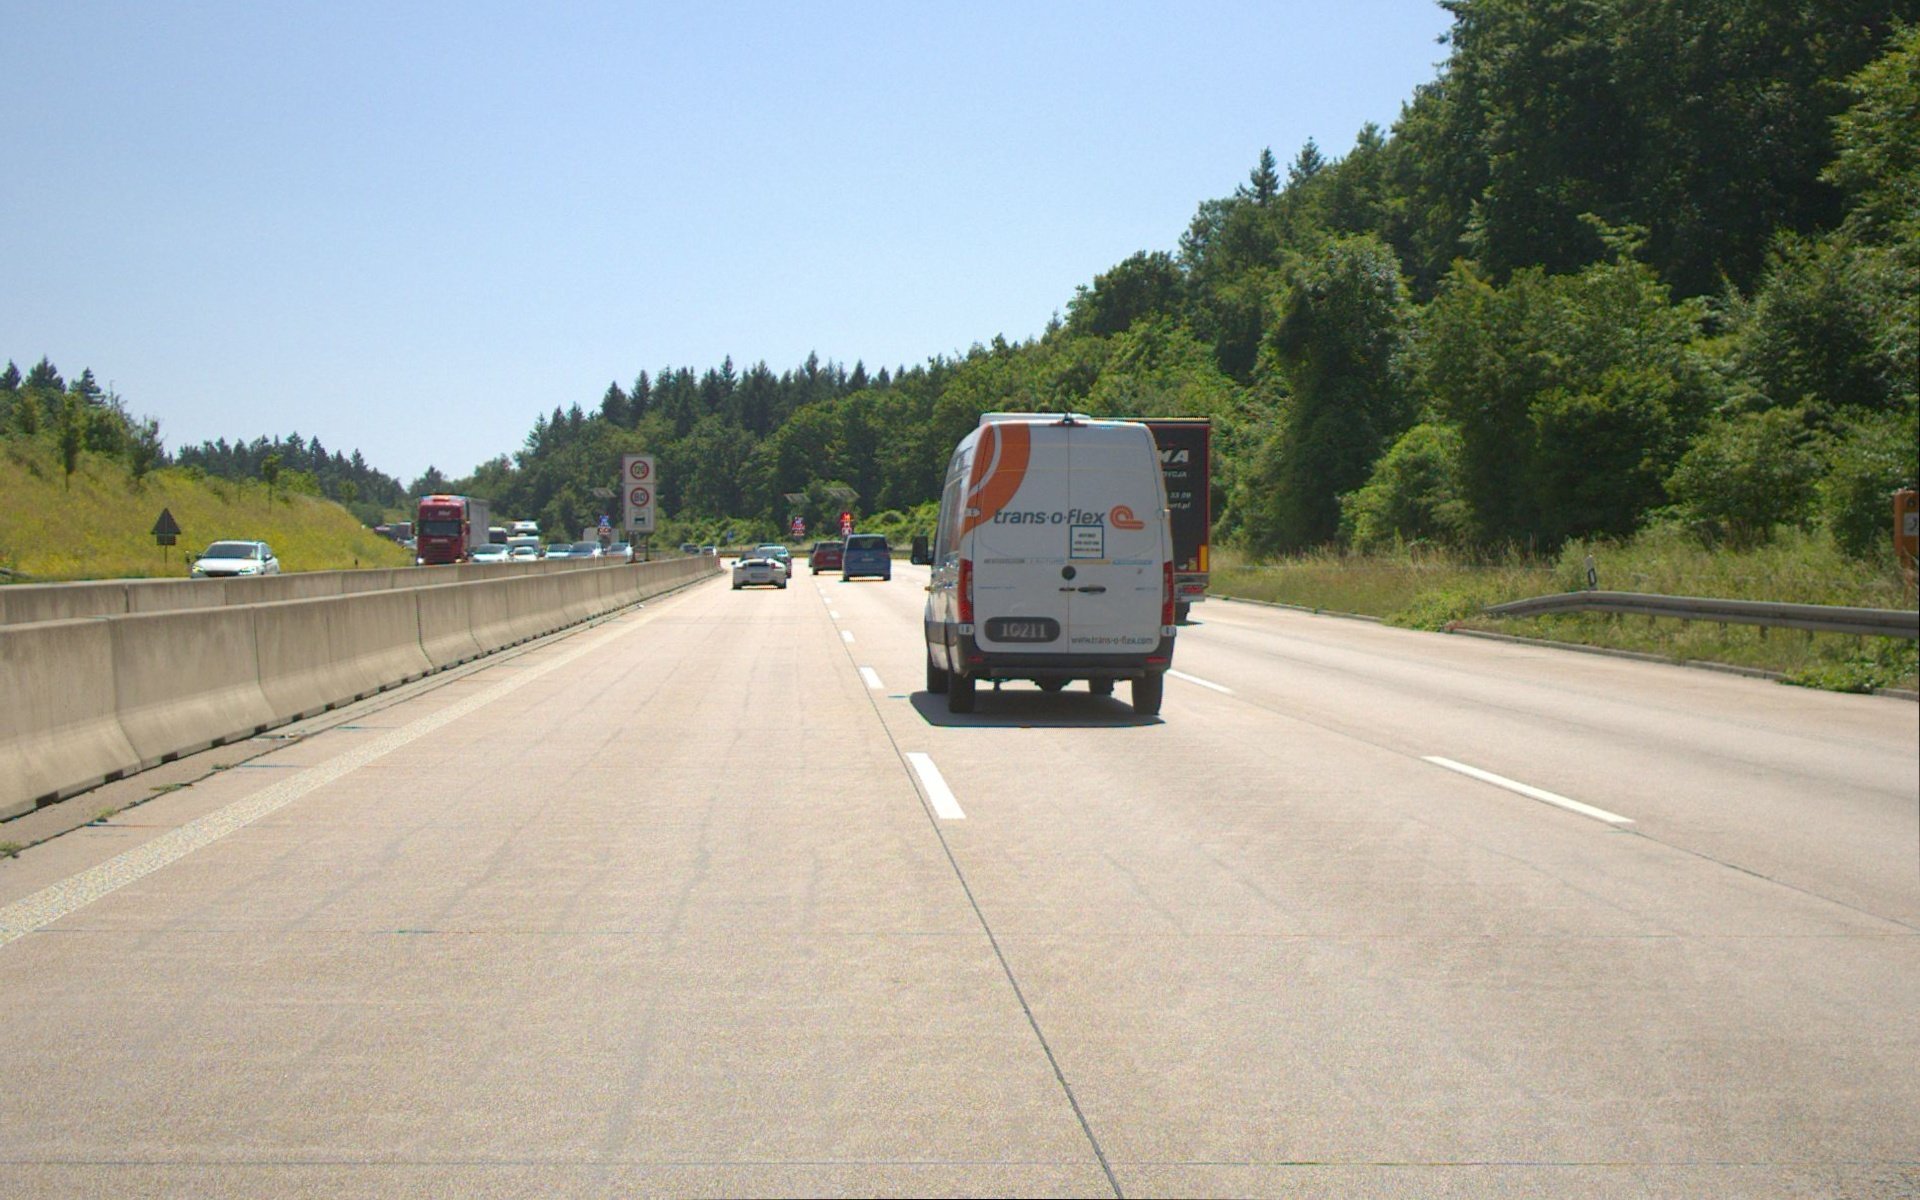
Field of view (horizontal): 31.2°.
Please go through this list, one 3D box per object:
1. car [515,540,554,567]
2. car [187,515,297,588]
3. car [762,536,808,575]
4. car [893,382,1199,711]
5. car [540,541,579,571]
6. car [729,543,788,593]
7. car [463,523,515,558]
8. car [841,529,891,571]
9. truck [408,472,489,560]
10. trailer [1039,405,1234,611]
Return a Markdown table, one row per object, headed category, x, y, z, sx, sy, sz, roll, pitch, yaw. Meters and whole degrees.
| category | x | y | z | sx | sy | sz | roll | pitch | yaw |
| --- | --- | --- | --- | --- | --- | --- | --- | --- | --- |
| car | -25.722 | -2.815 | 207.794 | 1.993 | 1.553 | 4.499 | 0 | 1 | -3 |
| car | -18.437 | -1.259 | 88.496 | 2.008 | 1.801 | 4.854 | 1 | 1 | -3 |
| car | -7.834 | -1.976 | 153.742 | 1.993 | 1.678 | 4.001 | 1 | 0 | -3 |
| car | 0.704 | -0.546 | 32.700 | 2.226 | 2.834 | 5.455 | -1 | 2 | -5 |
| car | -23.822 | -2.628 | 204.688 | 1.993 | 1.686 | 4.817 | 1 | 1 | -3 |
| car | -6.972 | -1.115 | 119.139 | 1.993 | 1.678 | 4.000 | 1 | 0 | -3 |
| car | -21.433 | -2.708 | 156.560 | 1.993 | 1.558 | 4.001 | 1 | 1 | -3 |
| car | -3.810 | -2.019 | 139.413 | 1.993 | 1.678 | 4.000 | 1 | 0 | -2 |
| truck | -26.442 | -4.309 | 177.985 | 3.386 | 4.416 | 6.801 | 1 | 0 | -3 |
| trailer | 3.589 | -1.889 | 72.279 | 3.134 | 4.003 | 9.089 | -1 | 1 | -3 |
